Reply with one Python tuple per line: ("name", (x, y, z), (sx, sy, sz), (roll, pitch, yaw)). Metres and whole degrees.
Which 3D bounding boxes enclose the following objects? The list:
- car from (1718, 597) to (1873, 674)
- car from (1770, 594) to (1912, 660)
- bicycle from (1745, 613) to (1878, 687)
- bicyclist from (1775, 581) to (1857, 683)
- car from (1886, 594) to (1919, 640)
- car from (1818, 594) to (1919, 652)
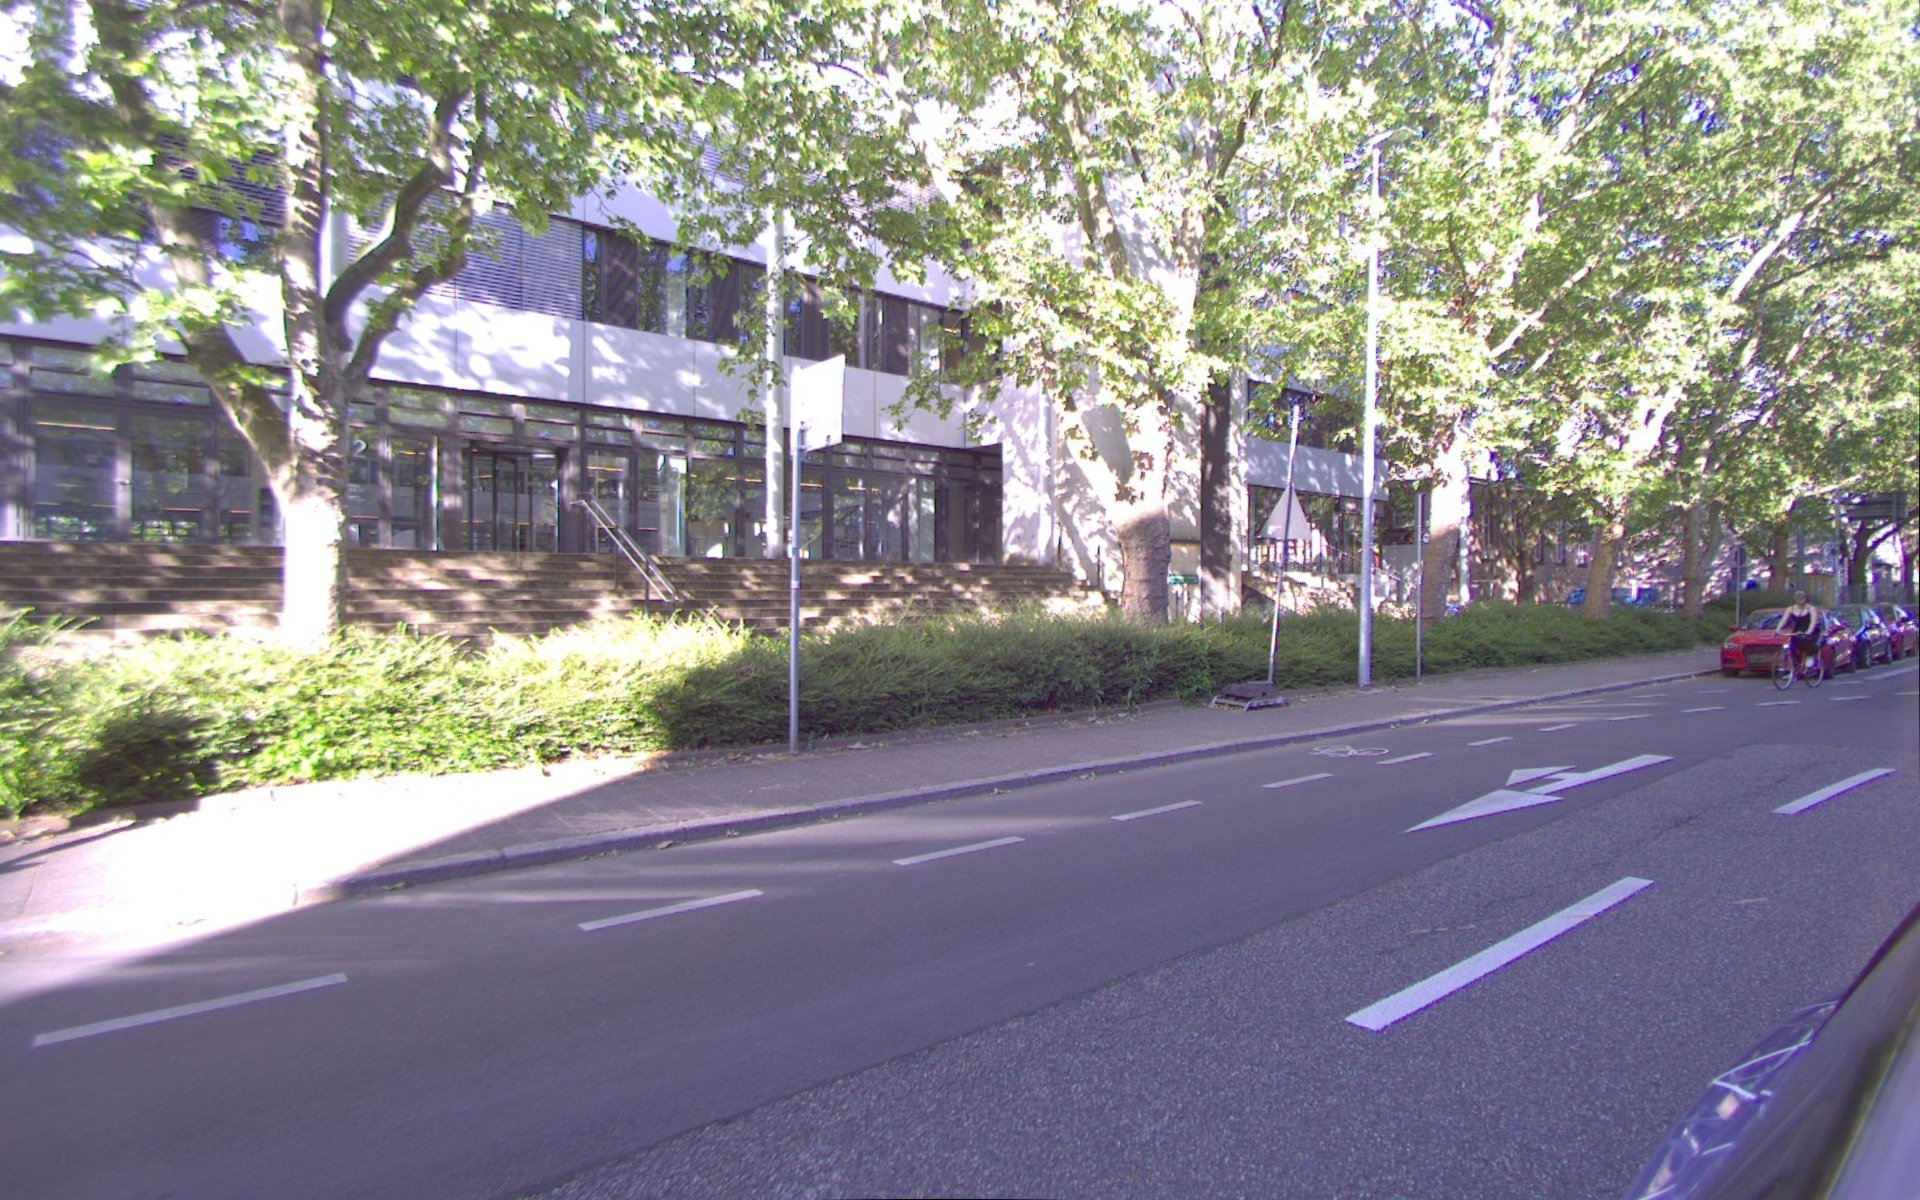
("car", (17.630, 0.667, 21.300), (4.006, 1.461, 1.896), (0, 0, -41))
("car", (21.176, 0.582, 24.287), (4.003, 1.466, 1.898), (0, 0, -39))
("bicycle", (14.855, 0.834, 17.630), (2.758, 1.150, 0.771), (-1, 0, -28))
("bicyclist", (14.945, 0.546, 17.679), (0.878, 1.701, 0.771), (-1, -1, -28))
("car", (32.435, 0.528, 33.623), (4.003, 1.469, 1.898), (0, 0, -39))
("car", (25.283, 0.575, 27.802), (4.003, 1.469, 1.898), (0, 0, -39))
